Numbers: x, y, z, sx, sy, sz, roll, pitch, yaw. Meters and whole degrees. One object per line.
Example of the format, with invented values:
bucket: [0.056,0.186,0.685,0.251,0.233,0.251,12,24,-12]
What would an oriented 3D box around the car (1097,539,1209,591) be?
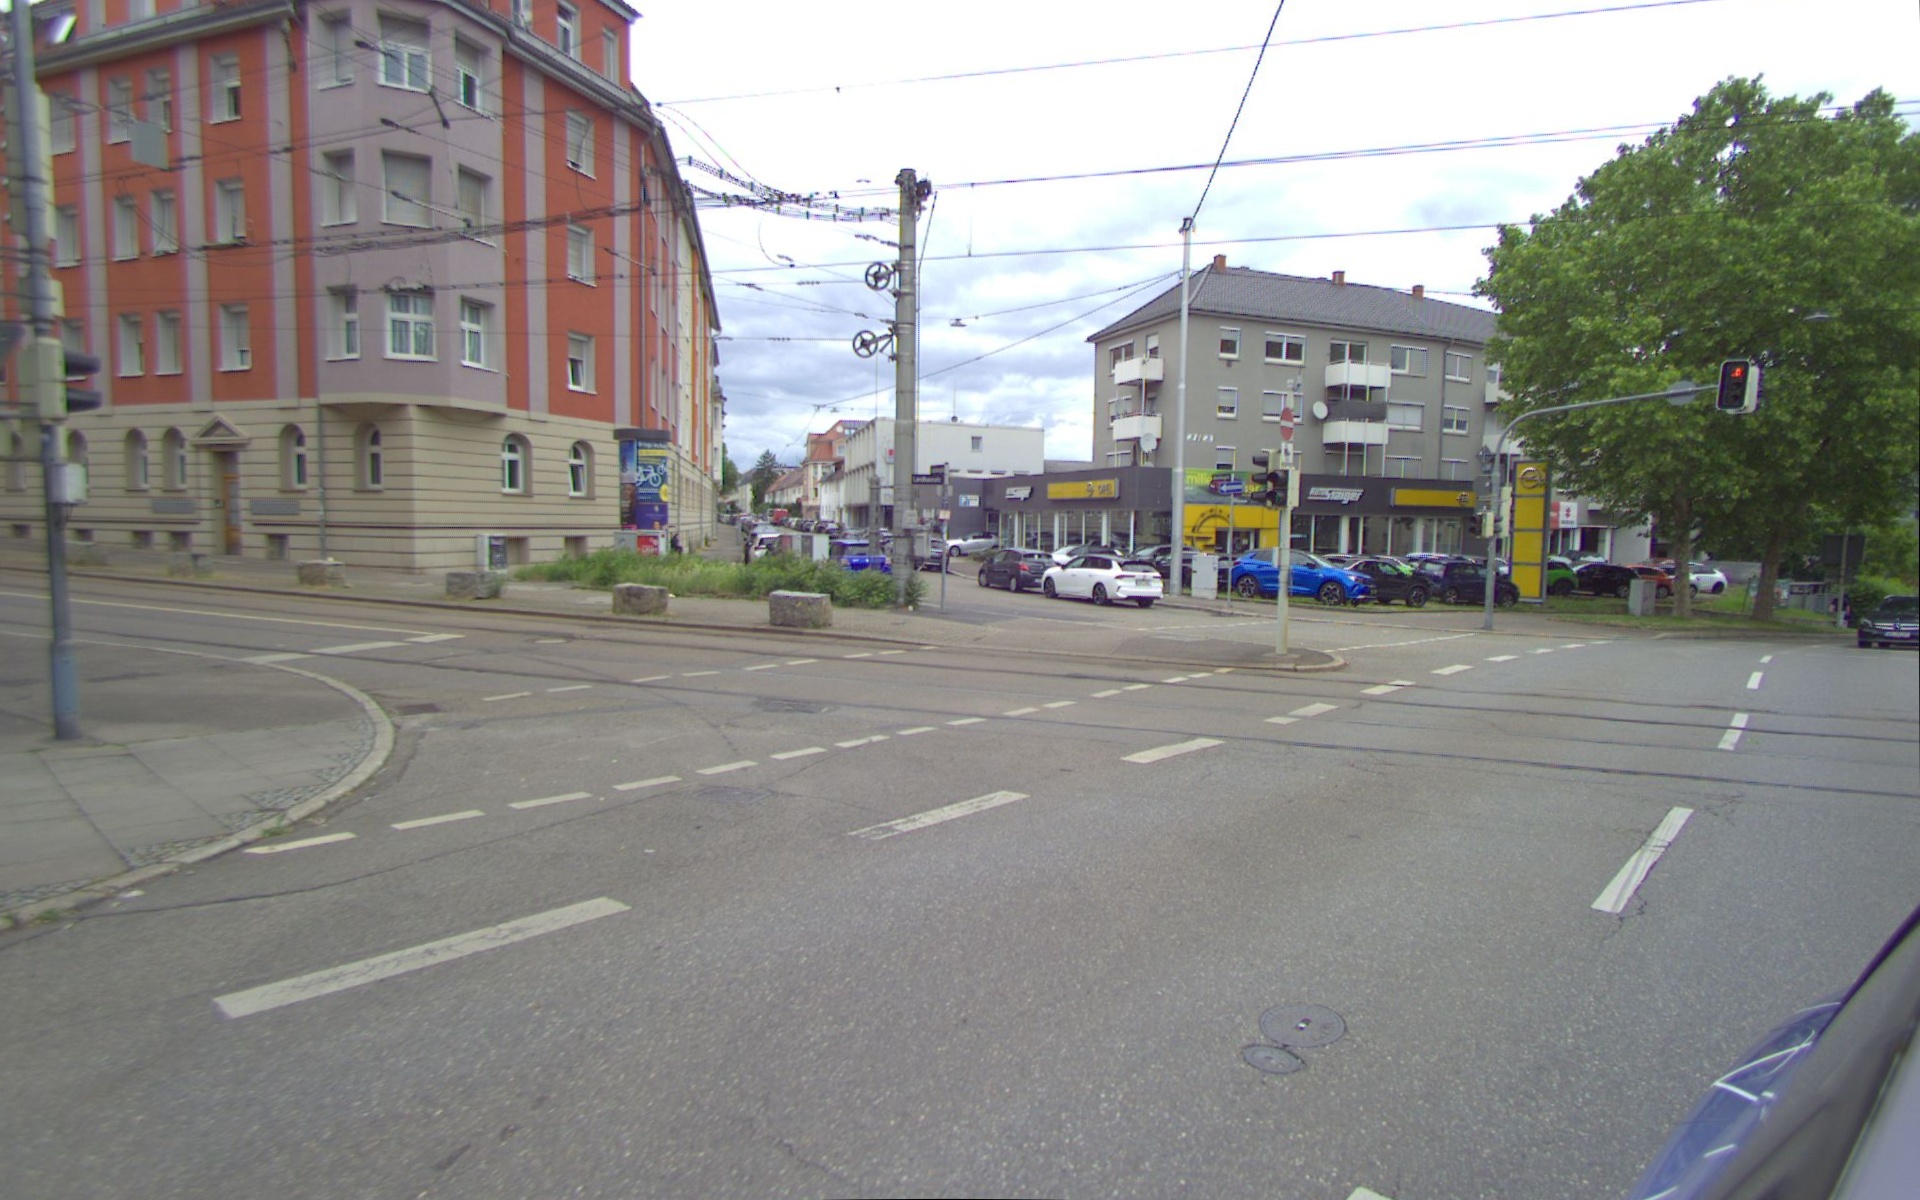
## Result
car: [7.738,-1.383,40.479,4.159,1.801,1.717,2,4,-29]

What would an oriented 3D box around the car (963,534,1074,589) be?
car: [1.909,-1.352,34.409,1.879,1.553,4.152,2,5,-26]

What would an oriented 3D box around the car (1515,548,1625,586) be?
car: [28.540,-1.564,47.460,3.946,1.522,1.854,4,4,17]

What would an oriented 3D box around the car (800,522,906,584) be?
car: [-3.289,-1.442,30.298,1.878,1.553,4.153,2,4,-24]

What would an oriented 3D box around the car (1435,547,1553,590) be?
car: [22.639,-1.367,42.997,1.831,1.568,3.997,0,5,-41]

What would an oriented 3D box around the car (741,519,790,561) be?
car: [-8.763,-2.729,45.289,1.878,1.652,4.153,3,4,-14]

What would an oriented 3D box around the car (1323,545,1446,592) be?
car: [16.551,-1.271,39.638,1.828,1.568,4.002,0,4,-36]

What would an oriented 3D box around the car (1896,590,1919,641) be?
car: [31.331,0.518,31.972,4.180,1.545,1.999,1,2,-39]

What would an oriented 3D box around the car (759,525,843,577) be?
car: [-5.666,-1.767,35.618,1.878,1.553,4.153,2,4,-24]

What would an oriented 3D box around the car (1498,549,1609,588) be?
car: [26.900,-1.463,46.026,3.946,1.522,1.747,4,4,17]

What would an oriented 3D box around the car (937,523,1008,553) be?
car: [0.723,-3.674,59.853,3.814,1.553,1.723,3,4,-10]

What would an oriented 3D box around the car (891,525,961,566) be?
car: [-1.570,-2.450,44.894,1.878,1.553,4.154,2,4,-19]

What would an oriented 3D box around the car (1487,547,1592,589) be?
car: [25.216,-1.420,44.143,3.559,1.571,1.615,4,3,15]

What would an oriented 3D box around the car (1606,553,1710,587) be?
car: [36.185,-1.589,52.592,3.946,1.522,1.854,4,4,17]

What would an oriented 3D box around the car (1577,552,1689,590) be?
car: [32.093,-1.419,48.383,3.930,1.522,1.862,3,3,5]

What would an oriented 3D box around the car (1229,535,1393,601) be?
car: [10.602,-1.007,30.750,4.249,1.596,1.801,8,5,43]

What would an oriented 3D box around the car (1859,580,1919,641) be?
car: [26.346,0.298,27.652,4.180,1.545,1.999,1,2,-39]

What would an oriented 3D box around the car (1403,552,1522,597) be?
car: [20.837,-1.070,42.077,1.831,1.568,3.997,0,5,-41]

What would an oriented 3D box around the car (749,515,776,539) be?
car: [-14.998,-5.577,76.642,1.878,1.652,4.153,3,4,-12]

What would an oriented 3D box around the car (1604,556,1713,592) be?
car: [34.621,-1.324,50.256,3.933,1.522,1.860,4,3,8]

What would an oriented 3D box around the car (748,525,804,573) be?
car: [-7.393,-2.068,40.427,1.878,1.652,4.153,3,4,-14]

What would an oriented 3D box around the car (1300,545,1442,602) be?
car: [13.544,-0.877,33.447,3.916,1.494,1.835,4,4,-15]

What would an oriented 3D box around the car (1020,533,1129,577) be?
car: [4.754,-1.870,42.071,4.031,1.553,1.799,2,4,-20]

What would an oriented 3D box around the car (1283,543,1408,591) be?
car: [14.625,-1.279,38.508,1.831,1.568,3.996,0,5,-42]

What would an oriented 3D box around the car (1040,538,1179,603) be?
car: [4.289,-0.899,29.755,1.879,1.553,4.151,2,5,-27]

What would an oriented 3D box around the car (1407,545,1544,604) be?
car: [18.717,-0.943,36.808,4.081,1.624,1.837,4,8,-16]

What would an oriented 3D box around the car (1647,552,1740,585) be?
car: [39.255,-1.694,54.231,3.549,1.522,1.793,3,3,0]
